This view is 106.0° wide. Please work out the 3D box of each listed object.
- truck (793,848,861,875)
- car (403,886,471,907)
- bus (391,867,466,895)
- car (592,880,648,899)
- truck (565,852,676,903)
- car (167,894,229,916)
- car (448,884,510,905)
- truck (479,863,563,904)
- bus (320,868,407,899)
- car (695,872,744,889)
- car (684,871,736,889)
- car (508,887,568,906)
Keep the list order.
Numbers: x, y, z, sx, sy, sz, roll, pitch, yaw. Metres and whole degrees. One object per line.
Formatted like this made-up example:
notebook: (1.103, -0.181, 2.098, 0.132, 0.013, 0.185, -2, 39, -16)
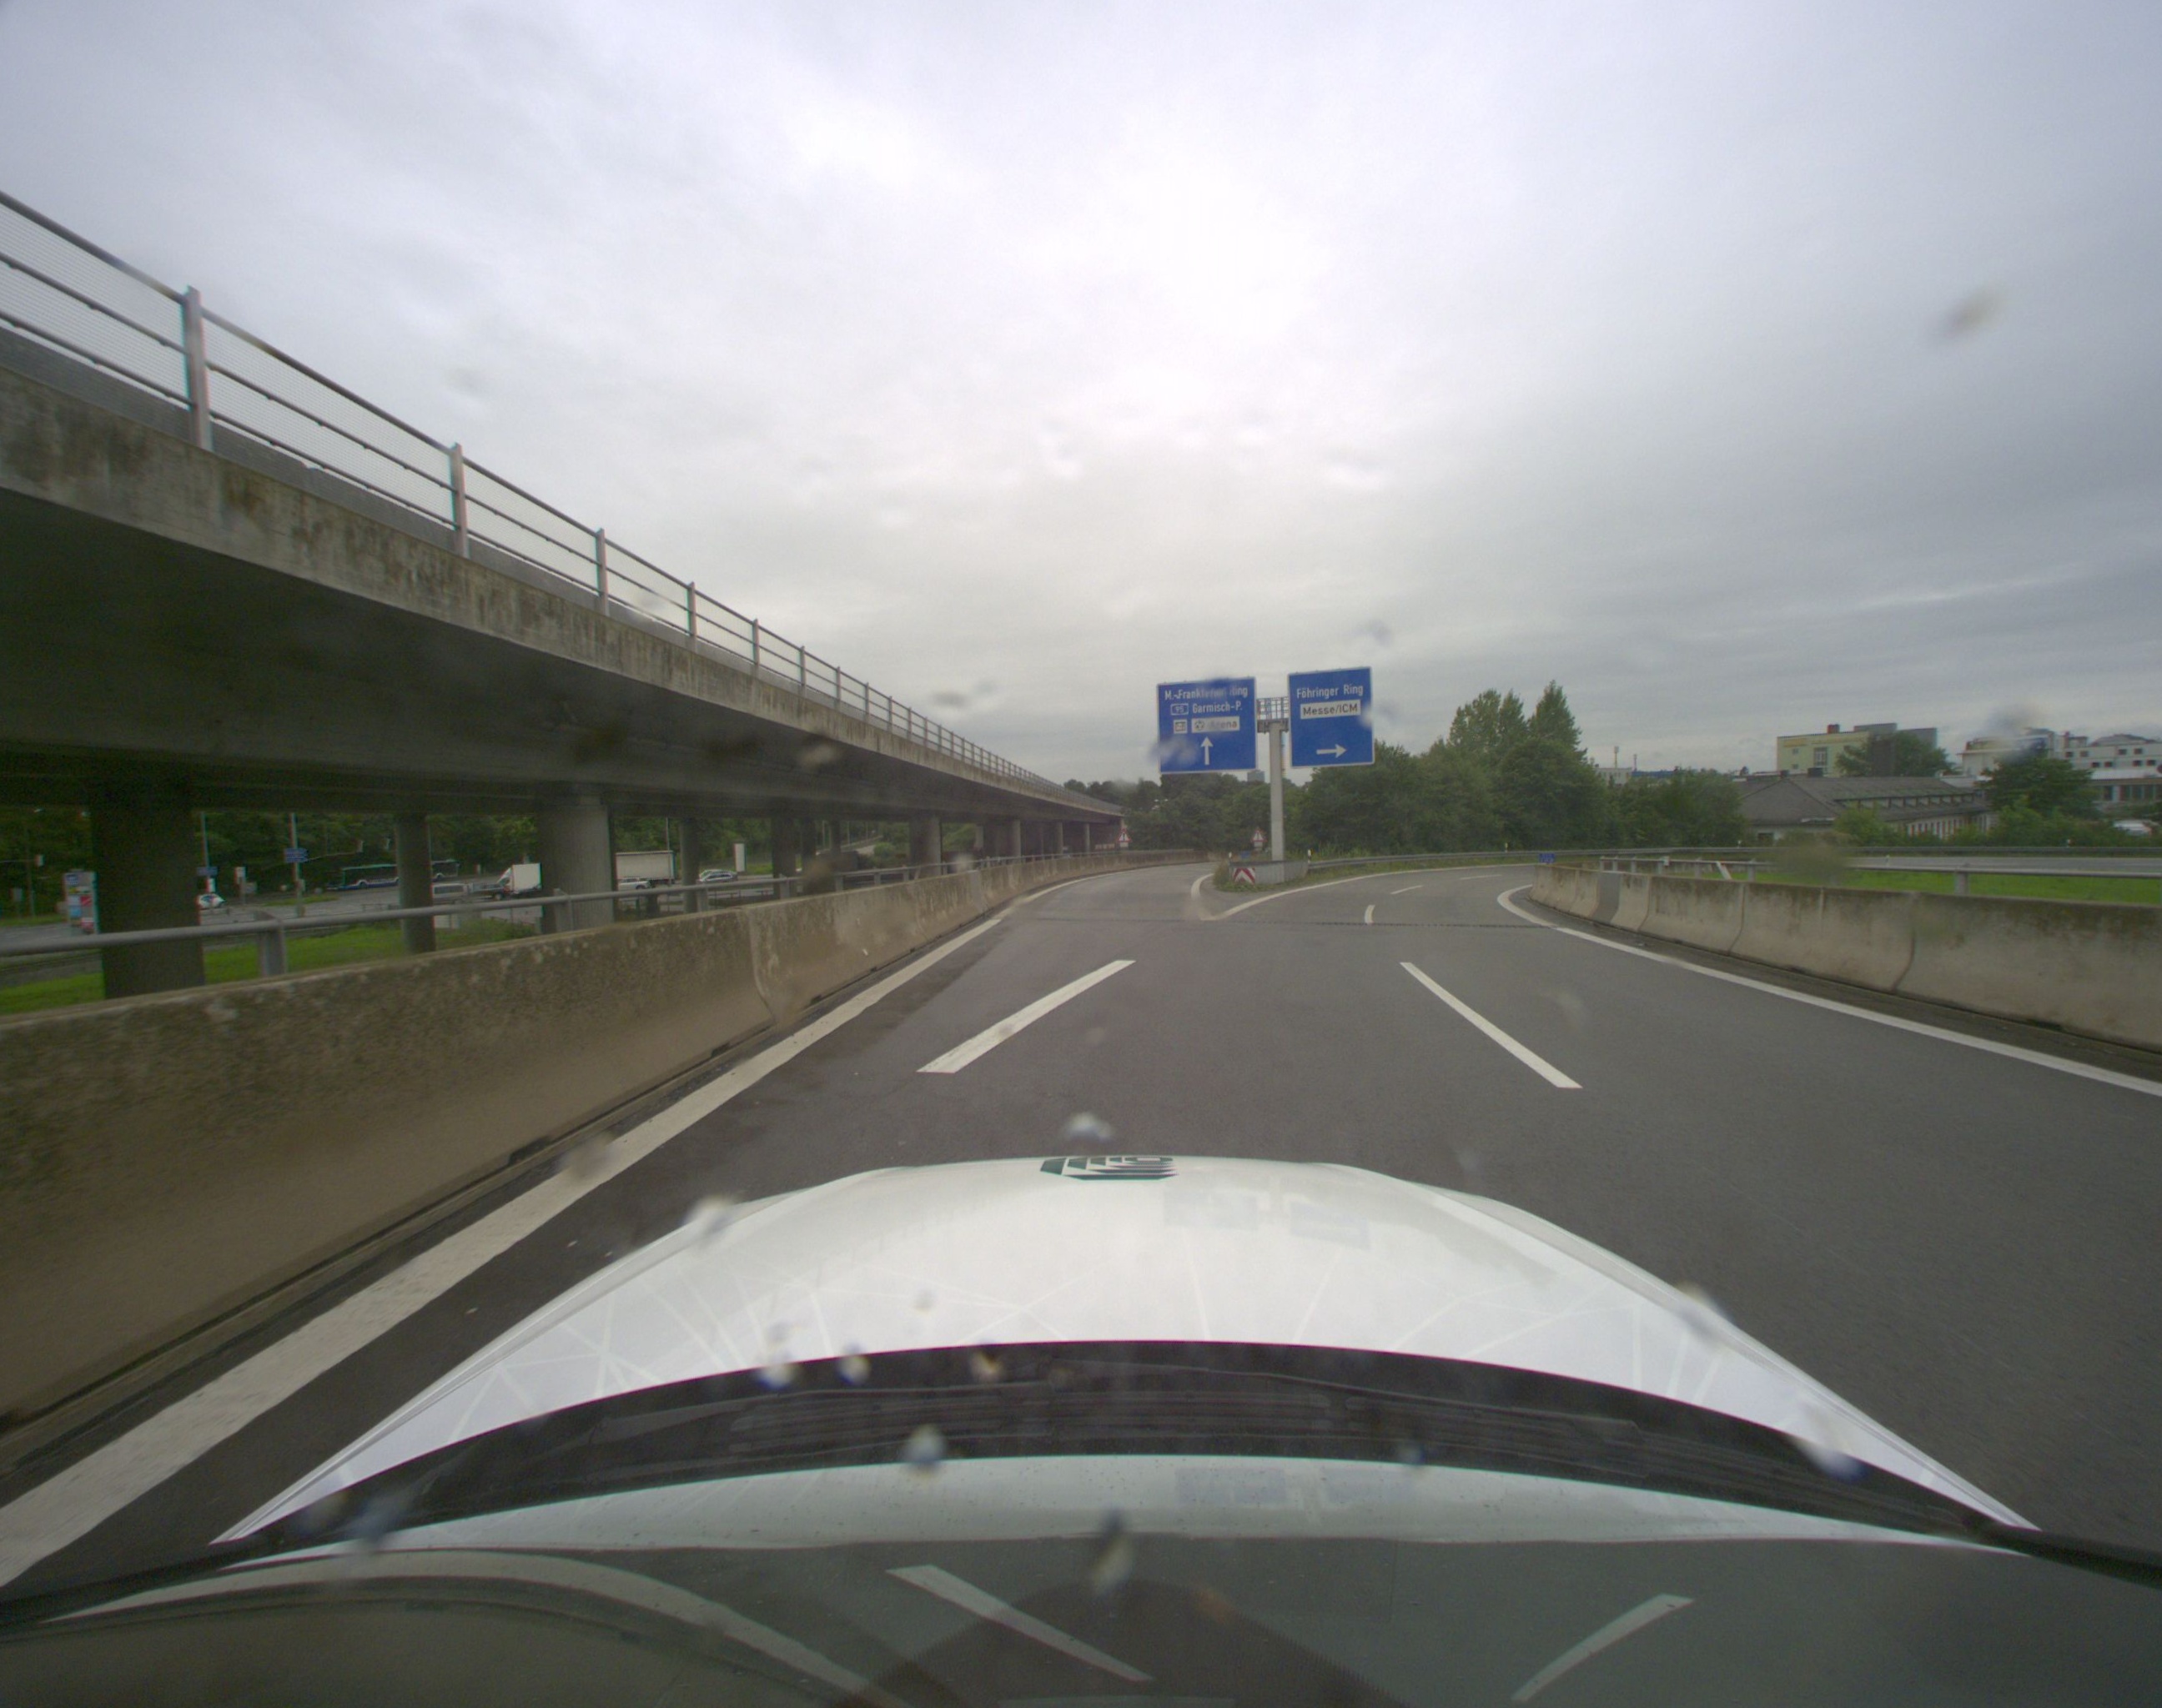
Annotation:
truck: (-29.499, 0.846, 94.775, 7.257, 2.977, 2.238, -1, 0, -32)
car: (-57.344, 3.760, 72.629, 4.611, 1.606, 1.954, -2, 0, -36)
bus: (-93.351, 3.774, 116.786, 2.215, 3.701, 9.920, 0, 0, 3)
car: (-45.554, 3.515, 80.491, 4.611, 1.583, 1.954, -3, 0, -36)
truck: (-46.929, 2.310, 83.165, 9.639, 4.591, 2.770, -2, 0, -33)
car: (-86.864, 5.005, 80.216, 1.789, 1.705, 3.995, -3, 1, -4)
car: (-56.633, 3.772, 76.726, 4.611, 1.606, 1.954, -2, 0, -36)
truck: (-55.890, 2.872, 81.465, 6.669, 3.679, 2.770, -2, 0, -33)
bus: (-93.909, 3.734, 106.897, 2.215, 3.701, 9.920, 0, 0, 3)
car: (-39.275, 2.865, 88.446, 4.608, 1.583, 1.955, -2, 0, -33)
car: (-38.707, 2.687, 85.090, 4.611, 1.583, 1.954, -3, 0, -36)
car: (-51.098, 3.956, 76.654, 4.610, 1.583, 1.954, 0, -1, -35)
